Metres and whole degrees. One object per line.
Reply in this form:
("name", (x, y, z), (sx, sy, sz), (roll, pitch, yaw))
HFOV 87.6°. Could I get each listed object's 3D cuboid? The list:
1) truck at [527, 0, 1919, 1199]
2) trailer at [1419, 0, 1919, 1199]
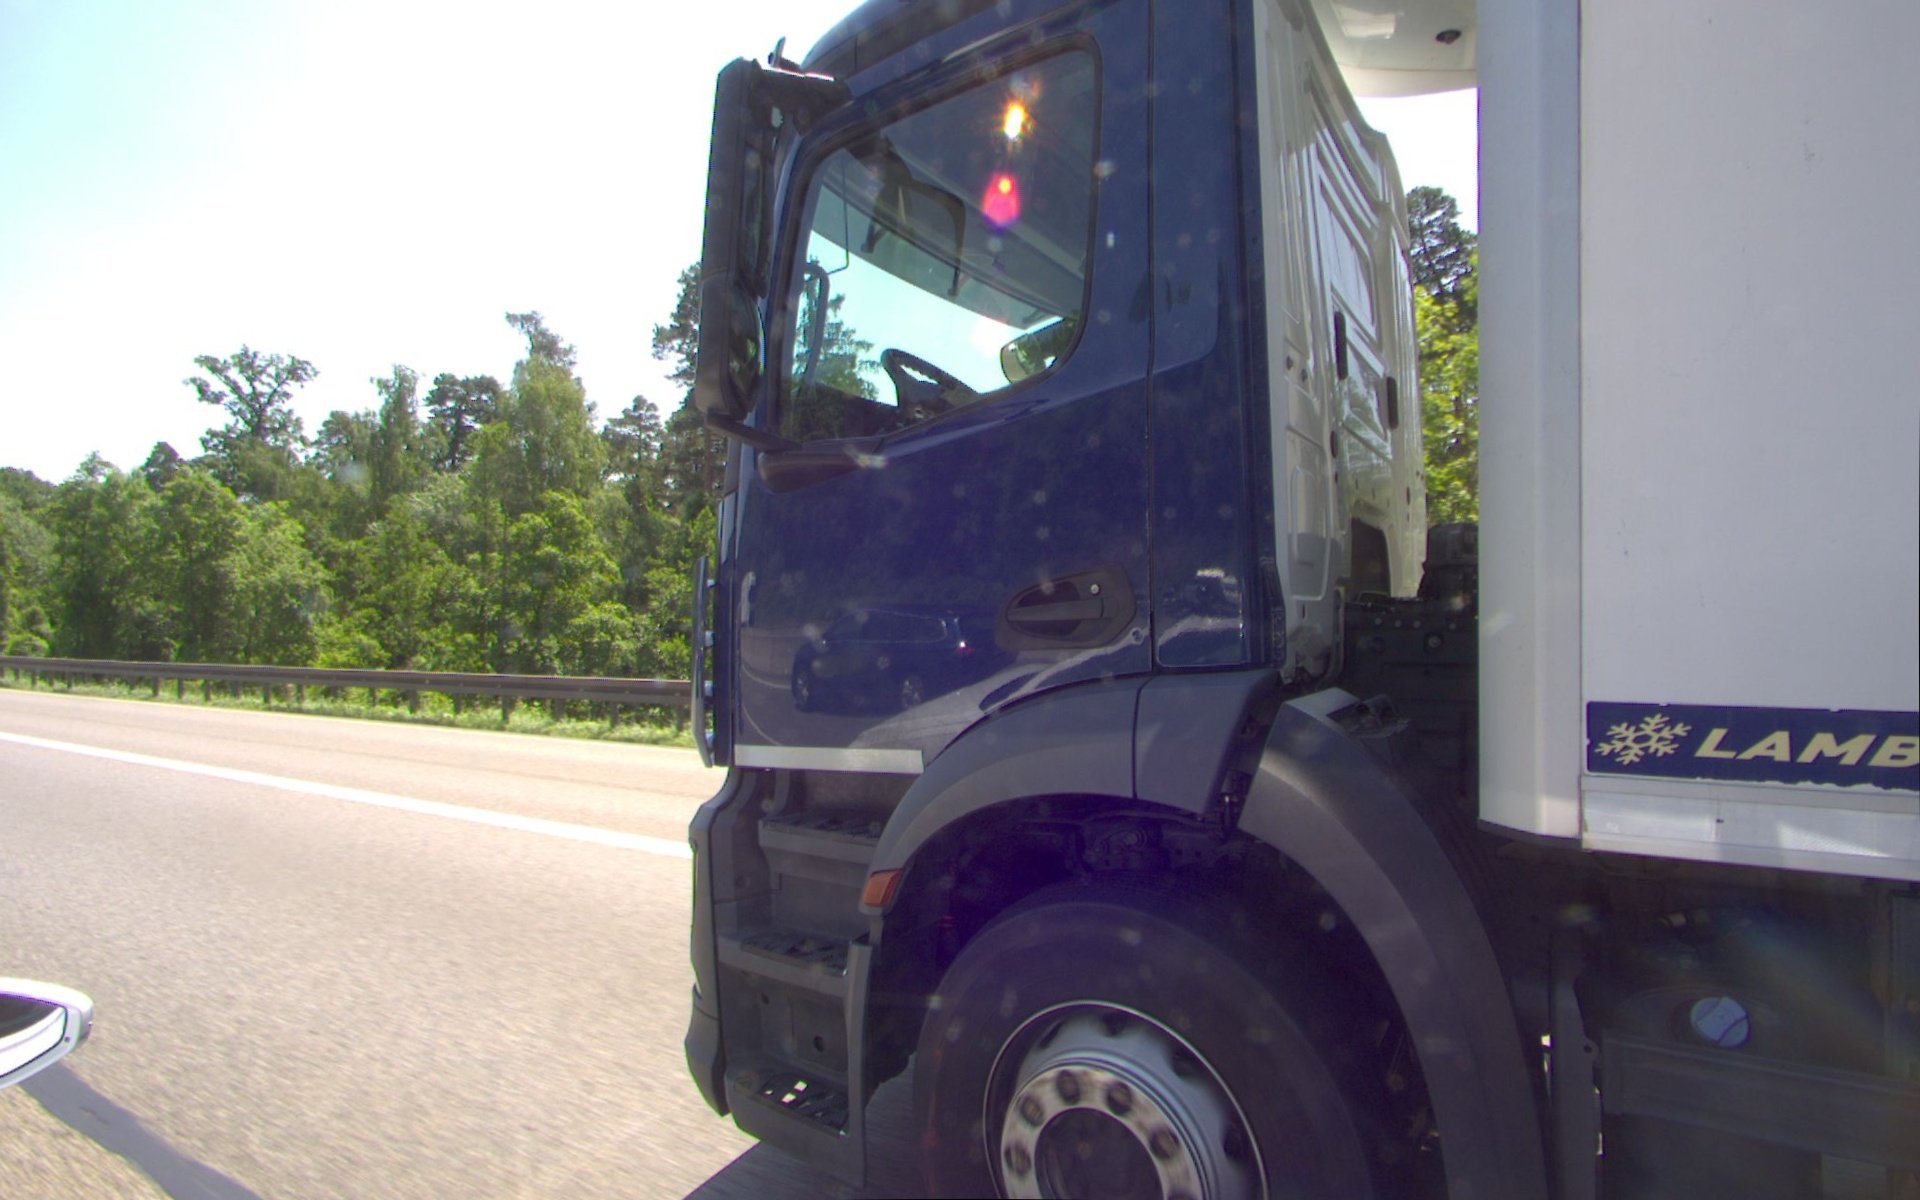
("truck", (1.340, -0.053, 2.428), (4.046, 2.978, 2.551), (-2, -1, 32))
("trailer", (4.567, -0.137, 0.364), (7.769, 2.936, 2.551), (-1, -2, 32))
